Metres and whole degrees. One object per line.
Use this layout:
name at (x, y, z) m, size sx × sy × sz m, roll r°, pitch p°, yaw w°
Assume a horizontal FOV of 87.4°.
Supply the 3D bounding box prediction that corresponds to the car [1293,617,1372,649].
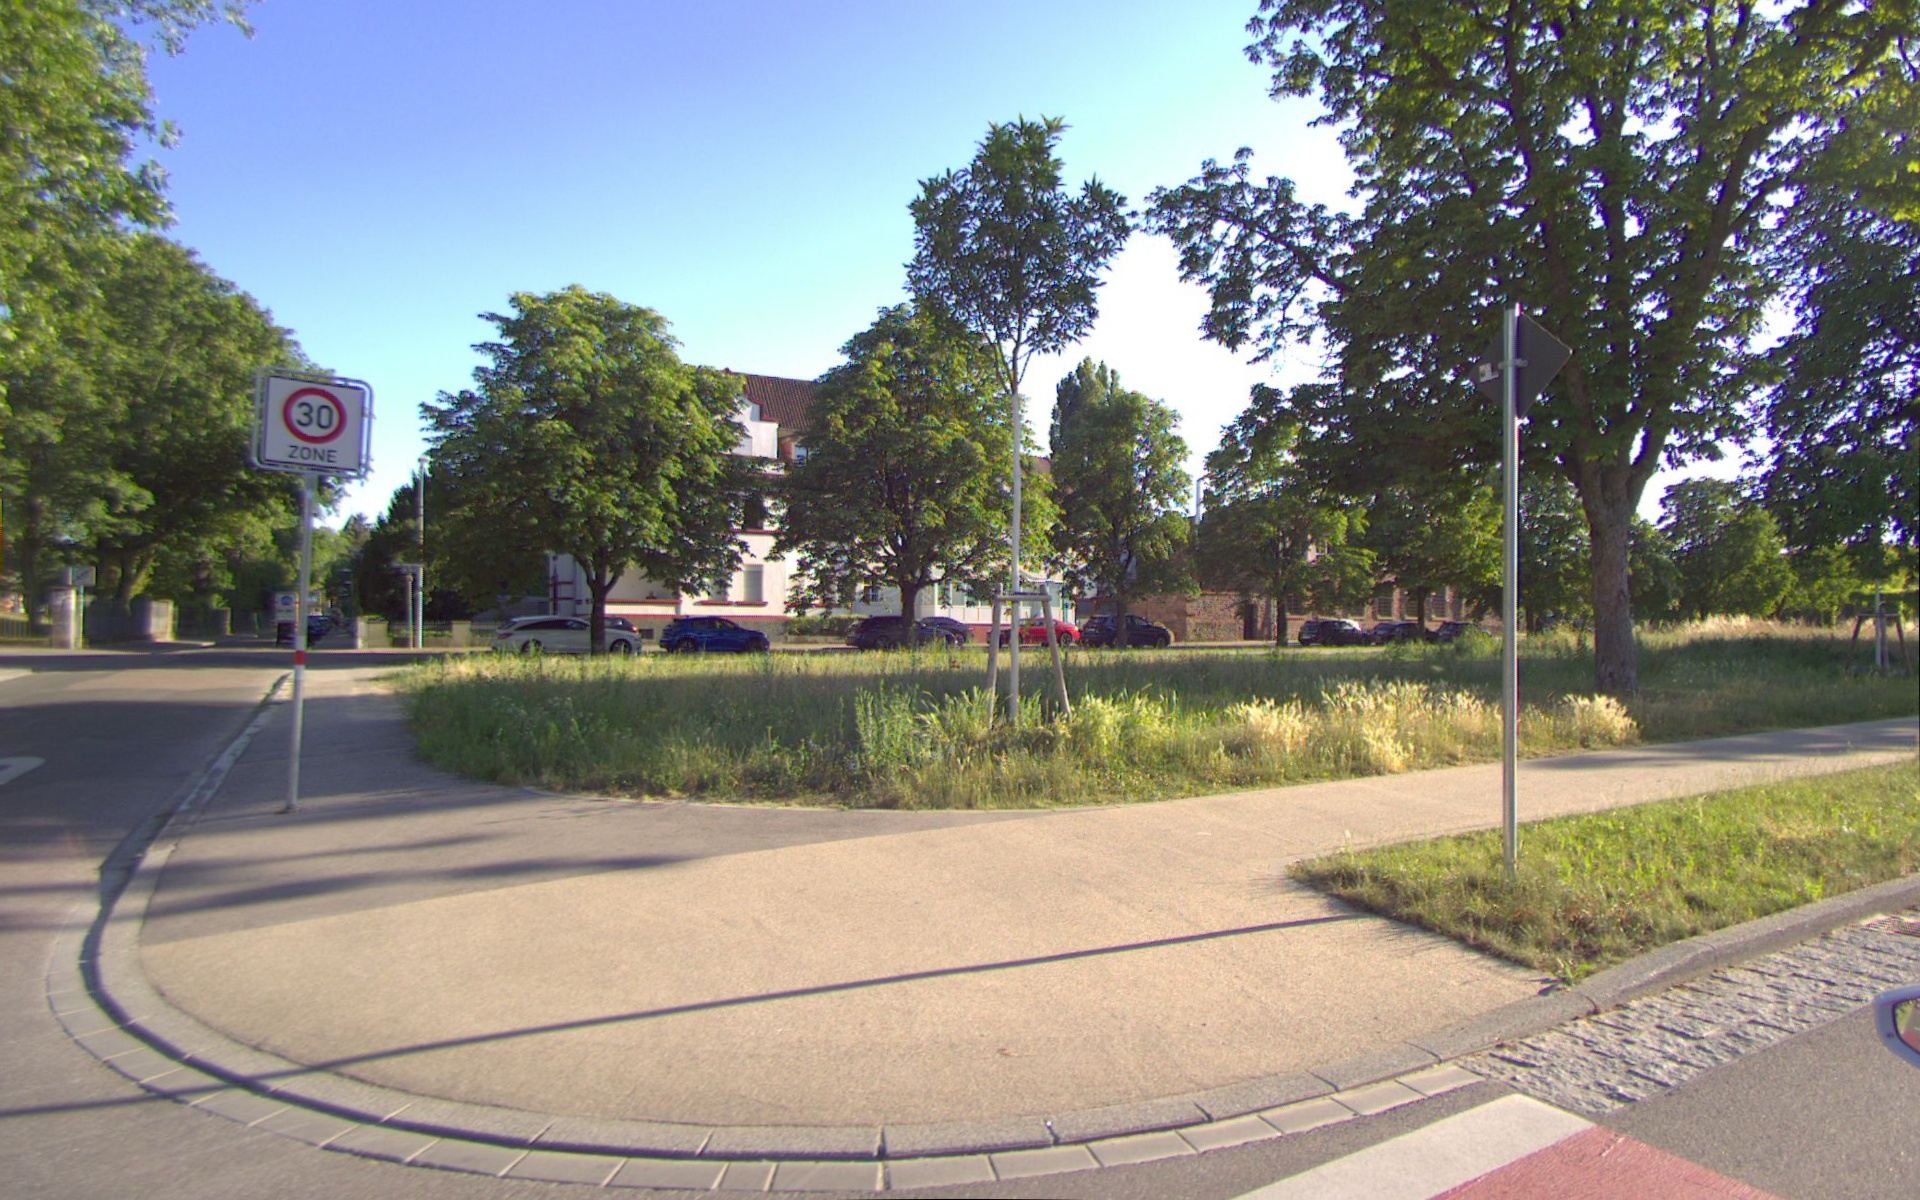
car at (19.922, 1.778, 53.673) m, size 4.172 × 1.619 × 1.684 m, roll 1°, pitch 0°, yaw -31°

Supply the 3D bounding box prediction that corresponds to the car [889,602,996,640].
car at (-0.697, 0.880, 41.475) m, size 4.174 × 1.496 × 1.683 m, roll 1°, pitch 0°, yaw -32°

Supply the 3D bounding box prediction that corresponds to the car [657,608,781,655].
car at (-8.902, 1.160, 37.228) m, size 4.175 × 1.619 × 1.683 m, roll 1°, pitch 0°, yaw -33°

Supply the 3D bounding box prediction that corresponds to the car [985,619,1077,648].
car at (3.553, 1.678, 49.976) m, size 4.424 × 1.350 × 1.564 m, roll 2°, pitch 0°, yaw -29°

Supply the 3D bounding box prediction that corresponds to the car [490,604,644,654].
car at (-13.466, 0.997, 34.540) m, size 4.705 × 1.619 × 1.683 m, roll 1°, pitch 0°, yaw -33°

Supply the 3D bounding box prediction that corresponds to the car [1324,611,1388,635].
car at (24.709, 1.449, 62.683) m, size 3.953 × 1.424 × 1.621 m, roll 1°, pitch 0°, yaw -30°

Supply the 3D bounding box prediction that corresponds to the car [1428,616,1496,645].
car at (30.048, 1.830, 60.127) m, size 4.172 × 1.619 × 1.684 m, roll 1°, pitch 0°, yaw -31°

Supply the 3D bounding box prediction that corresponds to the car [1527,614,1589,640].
car at (38.676, 1.748, 64.923) m, size 4.172 × 1.619 × 1.684 m, roll 1°, pitch 0°, yaw -31°

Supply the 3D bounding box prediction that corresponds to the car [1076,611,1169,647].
car at (7.528, 1.338, 46.433) m, size 4.172 × 1.619 × 1.684 m, roll 1°, pitch 0°, yaw -31°

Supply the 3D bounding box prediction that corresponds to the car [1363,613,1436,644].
car at (24.762, 1.605, 56.553) m, size 4.172 × 1.619 × 1.684 m, roll 1°, pitch 0°, yaw -31°

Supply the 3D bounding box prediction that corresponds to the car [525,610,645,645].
car at (-14.778, 1.079, 39.630) m, size 4.175 × 1.332 × 1.683 m, roll 1°, pitch 0°, yaw -33°

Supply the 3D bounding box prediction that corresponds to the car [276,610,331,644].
car at (-31.839, 1.295, 48.828) m, size 1.810 × 1.576 × 3.972 m, roll 1°, pitch -1°, yaw -27°

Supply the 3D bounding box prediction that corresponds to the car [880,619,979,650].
car at (-1.398, 1.615, 47.279) m, size 4.425 × 1.350 × 1.564 m, roll 2°, pitch 0°, yaw -29°

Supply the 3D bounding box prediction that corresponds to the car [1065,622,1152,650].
car at (7.777, 1.870, 52.388) m, size 4.424 × 1.350 × 1.564 m, roll 2°, pitch 0°, yaw -29°
